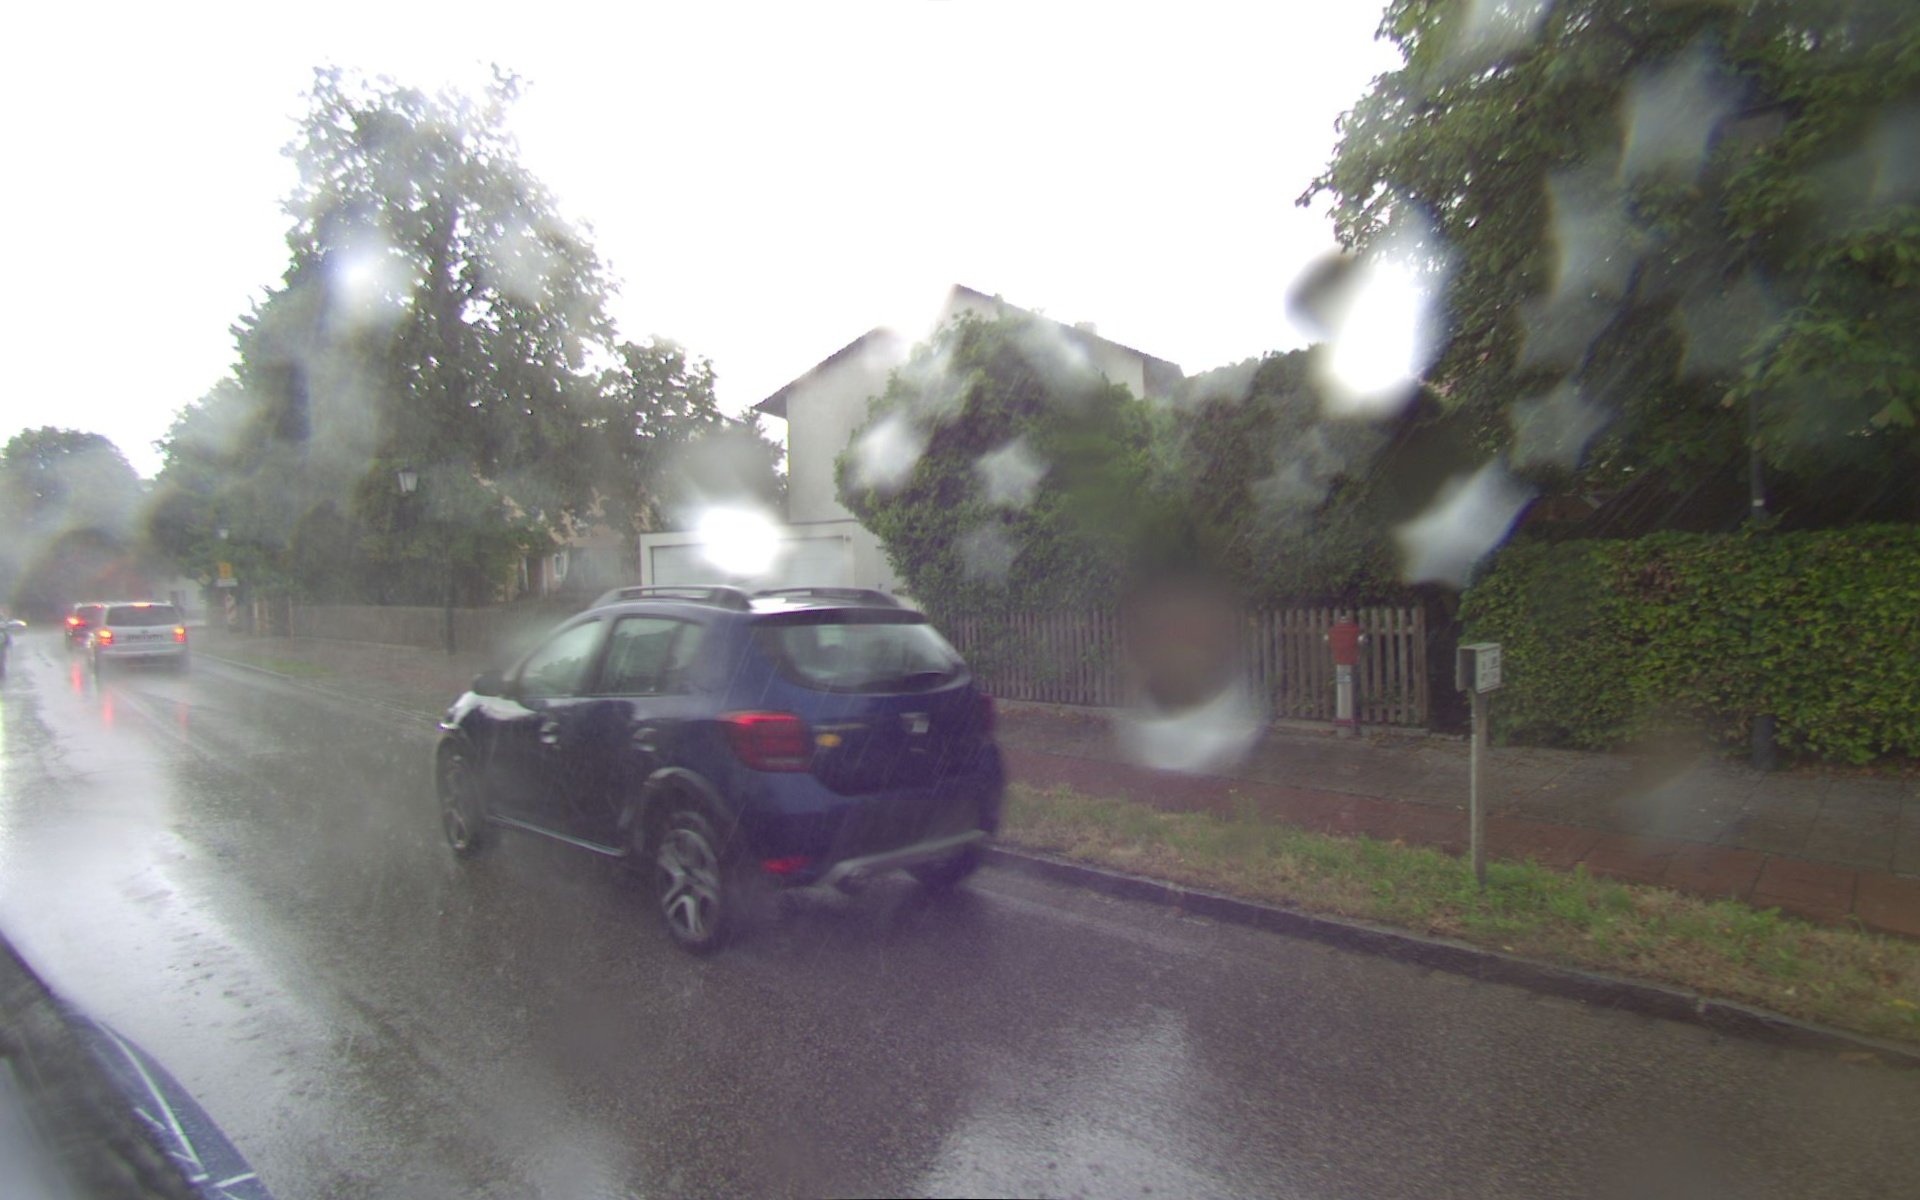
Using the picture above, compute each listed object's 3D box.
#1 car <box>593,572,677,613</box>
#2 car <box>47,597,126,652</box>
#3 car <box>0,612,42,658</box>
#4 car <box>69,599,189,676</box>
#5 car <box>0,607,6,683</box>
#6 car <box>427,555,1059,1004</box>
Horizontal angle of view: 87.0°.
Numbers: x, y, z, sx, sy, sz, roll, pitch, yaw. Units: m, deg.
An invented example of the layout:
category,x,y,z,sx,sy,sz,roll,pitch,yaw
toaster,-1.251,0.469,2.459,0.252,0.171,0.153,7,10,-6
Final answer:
category,x,y,z,sx,sy,sz,roll,pitch,yaw
car,-16.773,-0.376,52.281,3.620,1.815,1.835,-3,2,13
car,-29.933,0.812,34.640,1.899,1.757,4.196,0,0,-43
car,-35.630,1.300,37.801,1.846,1.532,4.966,-4,3,-43
car,-19.889,0.845,24.170,4.001,1.690,1.734,-1,-1,43
car,-23.400,1.044,23.426,1.846,1.624,4.966,-4,3,-43
car,-1.360,0.669,5.445,3.538,1.622,1.569,-1,-1,42
